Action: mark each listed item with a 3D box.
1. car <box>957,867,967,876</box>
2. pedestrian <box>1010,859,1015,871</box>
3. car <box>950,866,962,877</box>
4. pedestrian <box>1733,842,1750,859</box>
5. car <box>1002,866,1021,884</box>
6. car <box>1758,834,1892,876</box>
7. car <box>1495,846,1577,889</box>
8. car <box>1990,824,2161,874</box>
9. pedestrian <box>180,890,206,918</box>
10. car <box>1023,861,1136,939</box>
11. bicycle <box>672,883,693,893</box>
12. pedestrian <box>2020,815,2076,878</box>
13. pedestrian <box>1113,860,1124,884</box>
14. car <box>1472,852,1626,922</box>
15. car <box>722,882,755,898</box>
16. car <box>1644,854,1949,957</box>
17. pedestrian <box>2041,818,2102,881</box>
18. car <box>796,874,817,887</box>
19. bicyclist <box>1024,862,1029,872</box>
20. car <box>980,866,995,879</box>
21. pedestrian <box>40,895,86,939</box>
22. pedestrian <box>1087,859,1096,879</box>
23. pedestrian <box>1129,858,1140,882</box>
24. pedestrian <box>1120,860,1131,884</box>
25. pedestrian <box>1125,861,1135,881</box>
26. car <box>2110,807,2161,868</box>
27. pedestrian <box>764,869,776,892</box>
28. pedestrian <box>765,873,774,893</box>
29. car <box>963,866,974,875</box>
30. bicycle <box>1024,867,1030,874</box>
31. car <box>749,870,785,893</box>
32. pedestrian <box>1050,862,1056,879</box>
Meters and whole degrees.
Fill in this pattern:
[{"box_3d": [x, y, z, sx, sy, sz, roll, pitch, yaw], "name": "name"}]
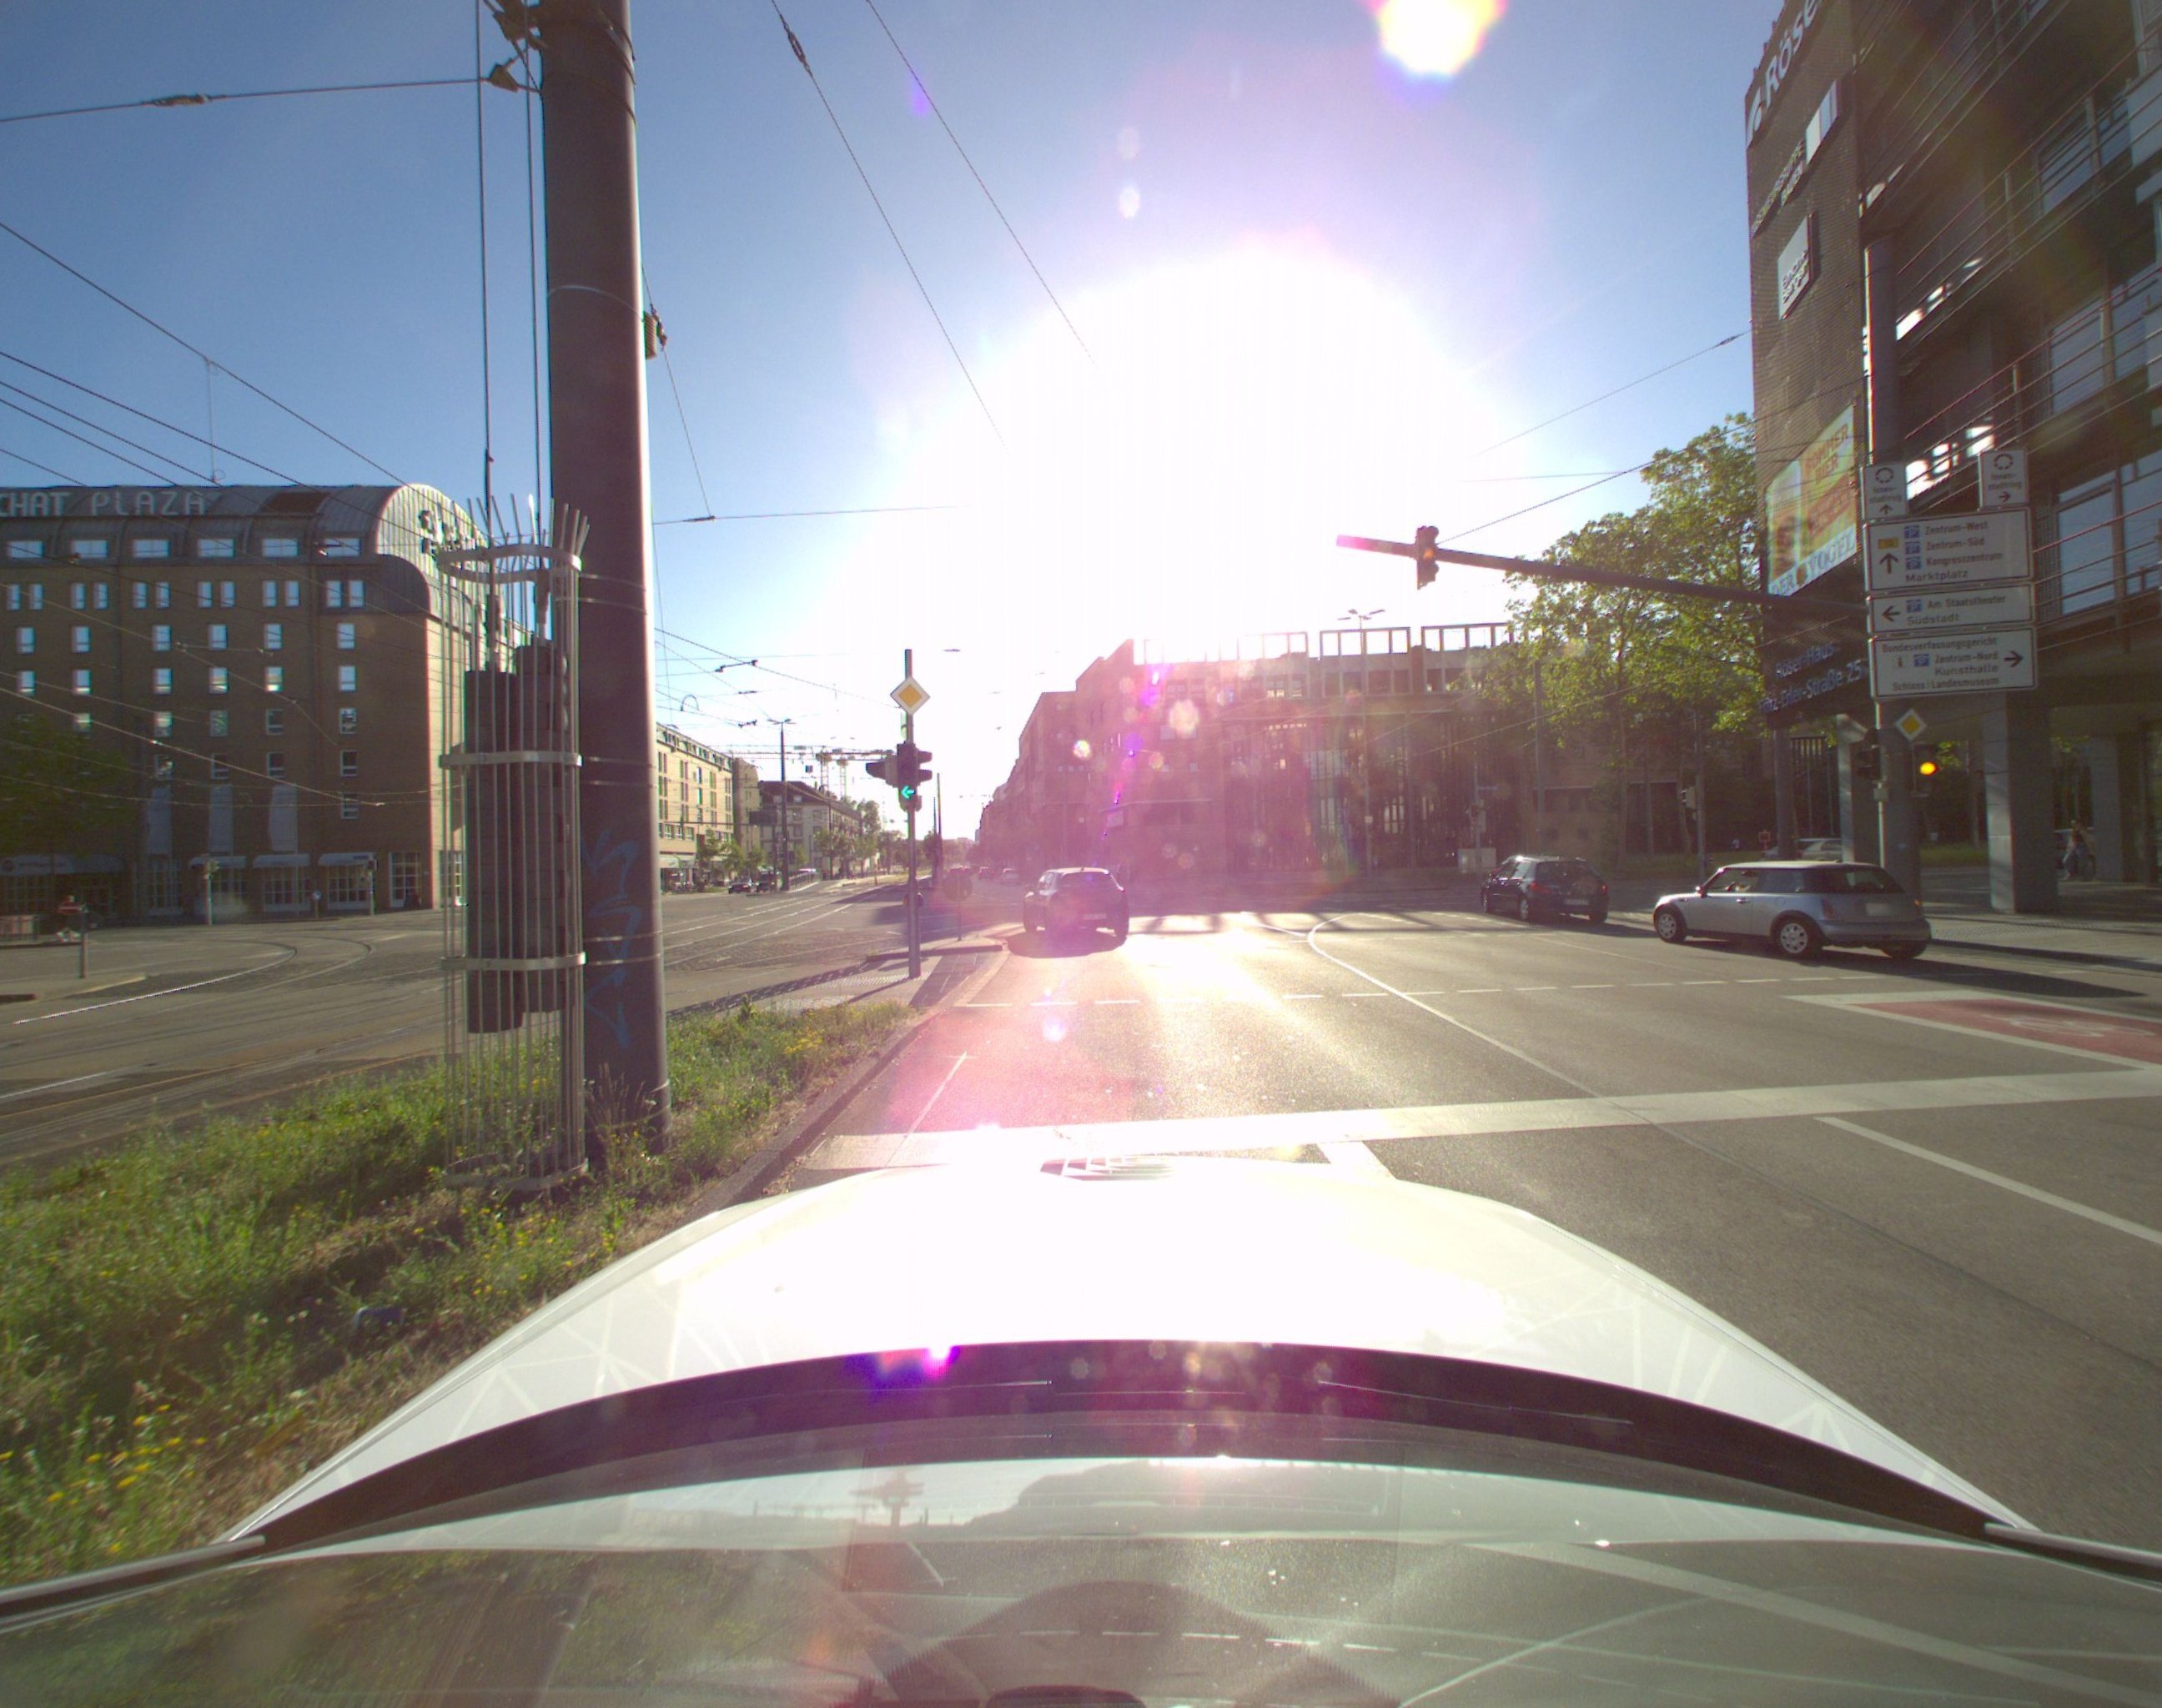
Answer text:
[{"box_3d": [-22.313, 3.265, 152.782, 1.720, 1.453, 3.686, -3, -1, -9], "name": "car"}, {"box_3d": [-10.951, 1.754, 130.490, 0.639, 1.786, 0.687, -3, -1, -6], "name": "pedestrian"}, {"box_3d": [-18.386, 2.533, 119.925, 1.720, 1.453, 3.686, -3, -1, -9], "name": "car"}, {"box_3d": [53.637, -0.300, 66.137, 0.684, 1.384, 0.810, -2, 0, -7], "name": "pedestrian"}, {"box_3d": [-6.204, 1.834, 72.184, 1.558, 1.456, 3.424, -2, 0, -6], "name": "car"}, {"box_3d": [28.419, 0.039, 31.140, 3.968, 1.475, 1.695, -2, -1, -10], "name": "car"}, {"box_3d": [16.438, 0.477, 29.343, 1.679, 1.440, 4.043, -2, -1, 42], "name": "car"}, {"box_3d": [32.584, -0.153, 26.439, 3.948, 1.475, 1.869, -2, -1, 3], "name": "car"}, {"box_3d": [-54.577, 3.072, 50.044, 0.750, 1.666, 0.739, -2, 0, -7], "name": "pedestrian"}, {"box_3d": [-0.150, 0.923, 17.893, 1.674, 1.502, 3.673, 0, 0, -14], "name": "car"}, {"box_3d": [-42.891, 3.678, 87.660, 2.026, 0.921, 0.483, -2, -1, 1], "name": "bicycle"}, {"box_3d": [26.765, -0.195, 22.548, 0.786, 1.734, 0.588, 0, -1, 10], "name": "pedestrian"}, {"box_3d": [2.850, 1.325, 61.451, 0.573, 1.786, 0.546, -2, -1, -17], "name": "pedestrian"}, {"box_3d": [11.171, 0.734, 19.787, 1.851, 1.475, 3.986, -2, 0, 8], "name": "car"}, {"box_3d": [-31.336, 3.267, 74.555, 1.840, 1.268, 4.214, -4, 0, -10], "name": "car"}, {"box_3d": [10.906, 0.724, 12.793, 1.656, 1.389, 3.535, 0, -1, -1], "name": "car"}, {"box_3d": [26.128, -0.122, 21.486, 0.788, 1.640, 0.660, -1, 0, -2], "name": "pedestrian"}, {"box_3d": [-35.301, 3.411, 104.931, 1.839, 1.448, 4.283, -4, 0, -10], "name": "car"}, {"box_3d": [-7.472, 1.746, 112.120, 0.645, 1.339, 0.651, -2, -1, -8], "name": "bicyclist"}, {"box_3d": [-11.572, 2.234, 100.599, 1.670, 1.453, 3.686, -3, -1, -9], "name": "car"}, {"box_3d": [-41.125, 2.523, 32.919, 0.713, 1.680, 0.829, -2, 1, -7], "name": "pedestrian"}, {"box_3d": [0.960, 1.385, 74.793, 0.639, 1.786, 0.687, -3, -1, -6], "name": "pedestrian"}, {"box_3d": [4.114, 1.199, 62.366, 0.573, 1.786, 0.546, -2, -1, -17], "name": "pedestrian"}, {"box_3d": [3.319, 1.330, 60.864, 0.573, 1.786, 0.546, -2, -1, -17], "name": "pedestrian"}, {"box_3d": [3.810, 1.326, 63.173, 0.550, 1.477, 0.568, -2, 0, -27], "name": "pedestrian"}, {"box_3d": [37.875, -0.602, 27.555, 4.442, 2.016, 1.861, -2, -1, -10], "name": "car"}, {"box_3d": [-24.039, 2.038, 62.999, 0.720, 1.727, 0.593, -2, -1, -8], "name": "pedestrian"}, {"box_3d": [-24.850, 2.323, 64.991, 0.583, 1.577, 0.642, -2, -1, -22], "name": "pedestrian"}, {"box_3d": [-19.461, 2.902, 141.044, 1.720, 1.453, 3.686, -3, -1, -9], "name": "car"}, {"box_3d": [-7.431, 2.228, 112.127, 0.648, 0.904, 2.339, -2, 0, -7], "name": "bicycle"}, {"box_3d": [-27.807, 2.438, 72.142, 1.837, 1.836, 4.098, -4, 0, -6], "name": "car"}, {"box_3d": [-3.116, 1.848, 90.247, 0.547, 1.786, 0.572, -2, 2, -6], "name": "pedestrian"}]
